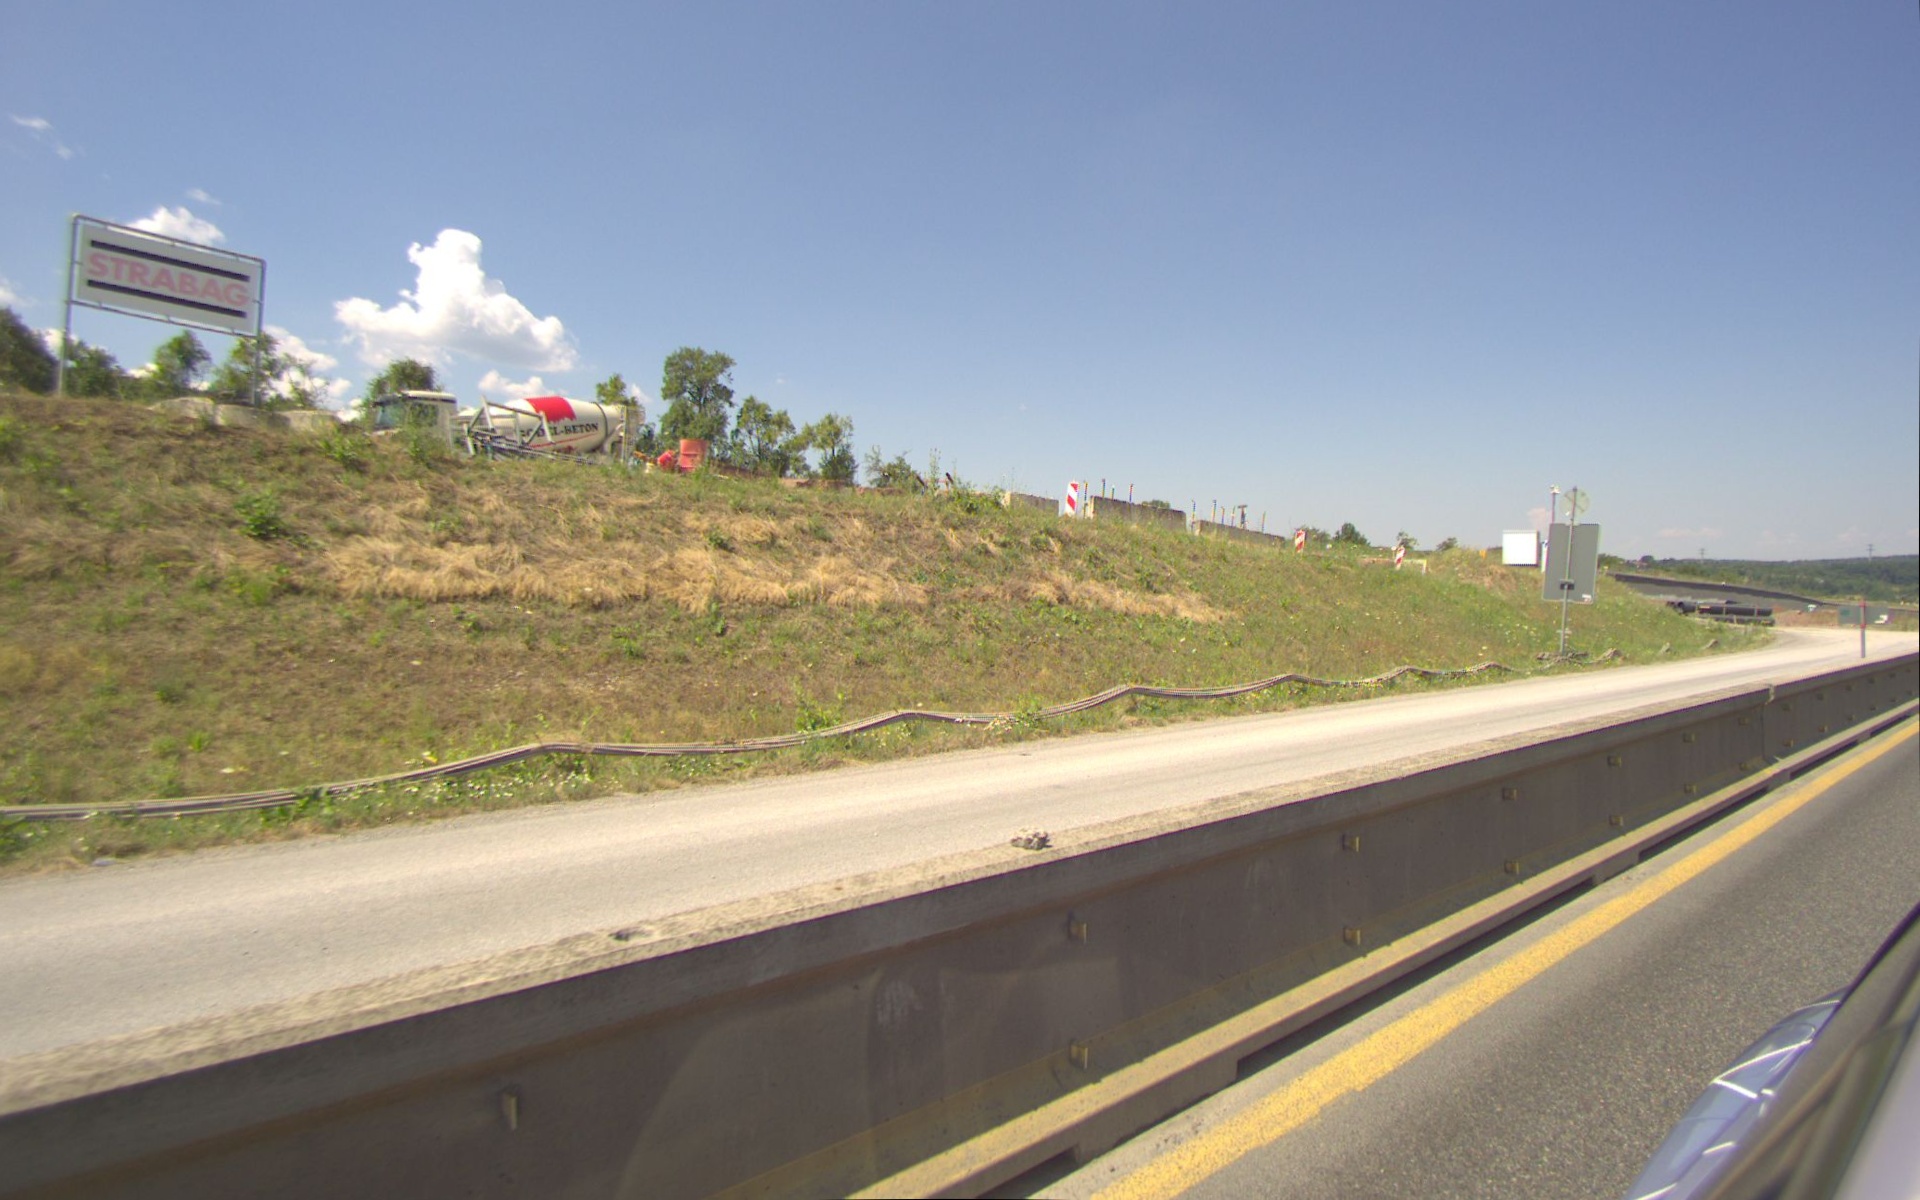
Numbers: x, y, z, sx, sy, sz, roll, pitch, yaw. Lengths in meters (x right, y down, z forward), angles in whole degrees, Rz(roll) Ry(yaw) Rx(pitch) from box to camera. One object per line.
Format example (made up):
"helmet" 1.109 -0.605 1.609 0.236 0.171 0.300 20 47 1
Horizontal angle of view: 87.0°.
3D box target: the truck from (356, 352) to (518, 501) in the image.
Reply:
"truck" -17.133 -5.531 33.246 2.743 4.147 4.039 1 1 41

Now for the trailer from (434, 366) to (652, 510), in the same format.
"trailer" -14.688 -5.525 36.059 2.754 4.166 6.645 1 1 41
